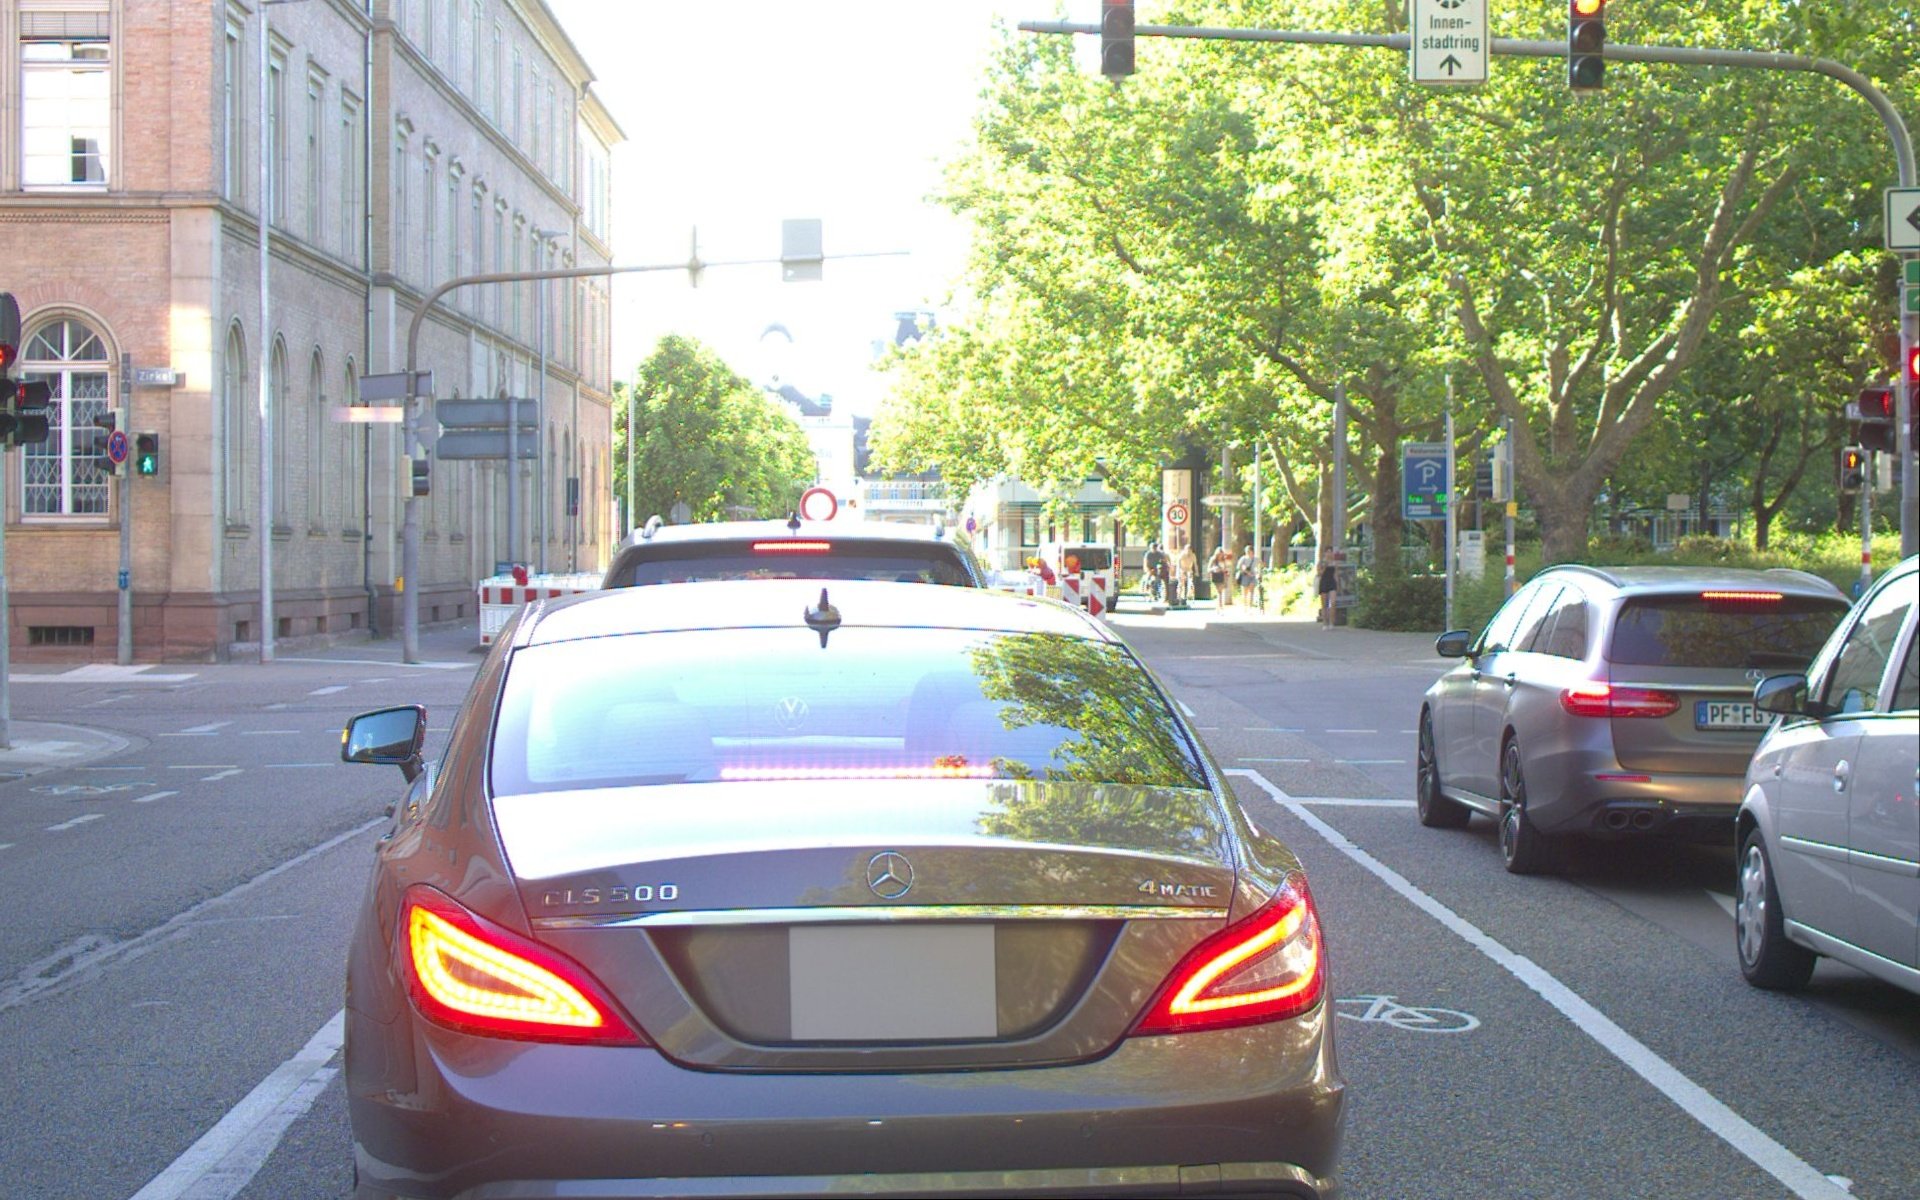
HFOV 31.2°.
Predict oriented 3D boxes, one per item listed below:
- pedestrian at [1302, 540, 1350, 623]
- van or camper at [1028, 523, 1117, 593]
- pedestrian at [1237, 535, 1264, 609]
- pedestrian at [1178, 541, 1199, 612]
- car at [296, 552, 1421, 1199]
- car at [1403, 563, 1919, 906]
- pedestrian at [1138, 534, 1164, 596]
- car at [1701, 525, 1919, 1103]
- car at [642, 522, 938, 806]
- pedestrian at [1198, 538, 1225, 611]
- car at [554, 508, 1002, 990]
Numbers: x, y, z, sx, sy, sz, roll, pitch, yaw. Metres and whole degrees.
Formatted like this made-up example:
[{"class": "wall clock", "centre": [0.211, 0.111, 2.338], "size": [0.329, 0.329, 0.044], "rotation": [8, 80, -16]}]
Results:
[{"class": "pedestrian", "centre": [7.160, -0.362, 67.261], "size": [0.830, 1.601, 0.651], "rotation": [1, 1, -1]}, {"class": "van or camper", "centre": [3.192, -1.204, 98.442], "size": [1.993, 1.935, 4.595], "rotation": [0, 1, -5]}, {"class": "pedestrian", "centre": [7.201, -0.703, 85.292], "size": [0.603, 1.815, 0.651], "rotation": [1, 1, -1]}, {"class": "pedestrian", "centre": [6.477, -0.673, 97.495], "size": [0.539, 2.007, 0.474], "rotation": [1, 0, -1]}, {"class": "car", "centre": [-0.436, 0.636, 7.669], "size": [1.803, 1.451, 4.352], "rotation": [0, 1, -8]}, {"class": "car", "centre": [3.538, 0.571, 17.455], "size": [1.913, 1.459, 4.669], "rotation": [1, 1, -1]}, {"class": "pedestrian", "centre": [5.672, -1.035, 102.107], "size": [0.701, 1.831, 0.737], "rotation": [0, 1, -3]}, {"class": "car", "centre": [3.556, 0.600, 10.677], "size": [1.701, 1.597, 3.859], "rotation": [2, 1, 1]}, {"class": "car", "centre": [-1.074, 0.362, 23.258], "size": [1.820, 1.756, 4.000], "rotation": [0, 1, -1]}, {"class": "pedestrian", "centre": [6.253, -0.641, 85.446], "size": [0.603, 1.815, 0.651], "rotation": [1, 1, -1]}, {"class": "car", "centre": [-0.714, 0.481, 13.742], "size": [1.517, 1.641, 3.881], "rotation": [1, 1, -3]}]
